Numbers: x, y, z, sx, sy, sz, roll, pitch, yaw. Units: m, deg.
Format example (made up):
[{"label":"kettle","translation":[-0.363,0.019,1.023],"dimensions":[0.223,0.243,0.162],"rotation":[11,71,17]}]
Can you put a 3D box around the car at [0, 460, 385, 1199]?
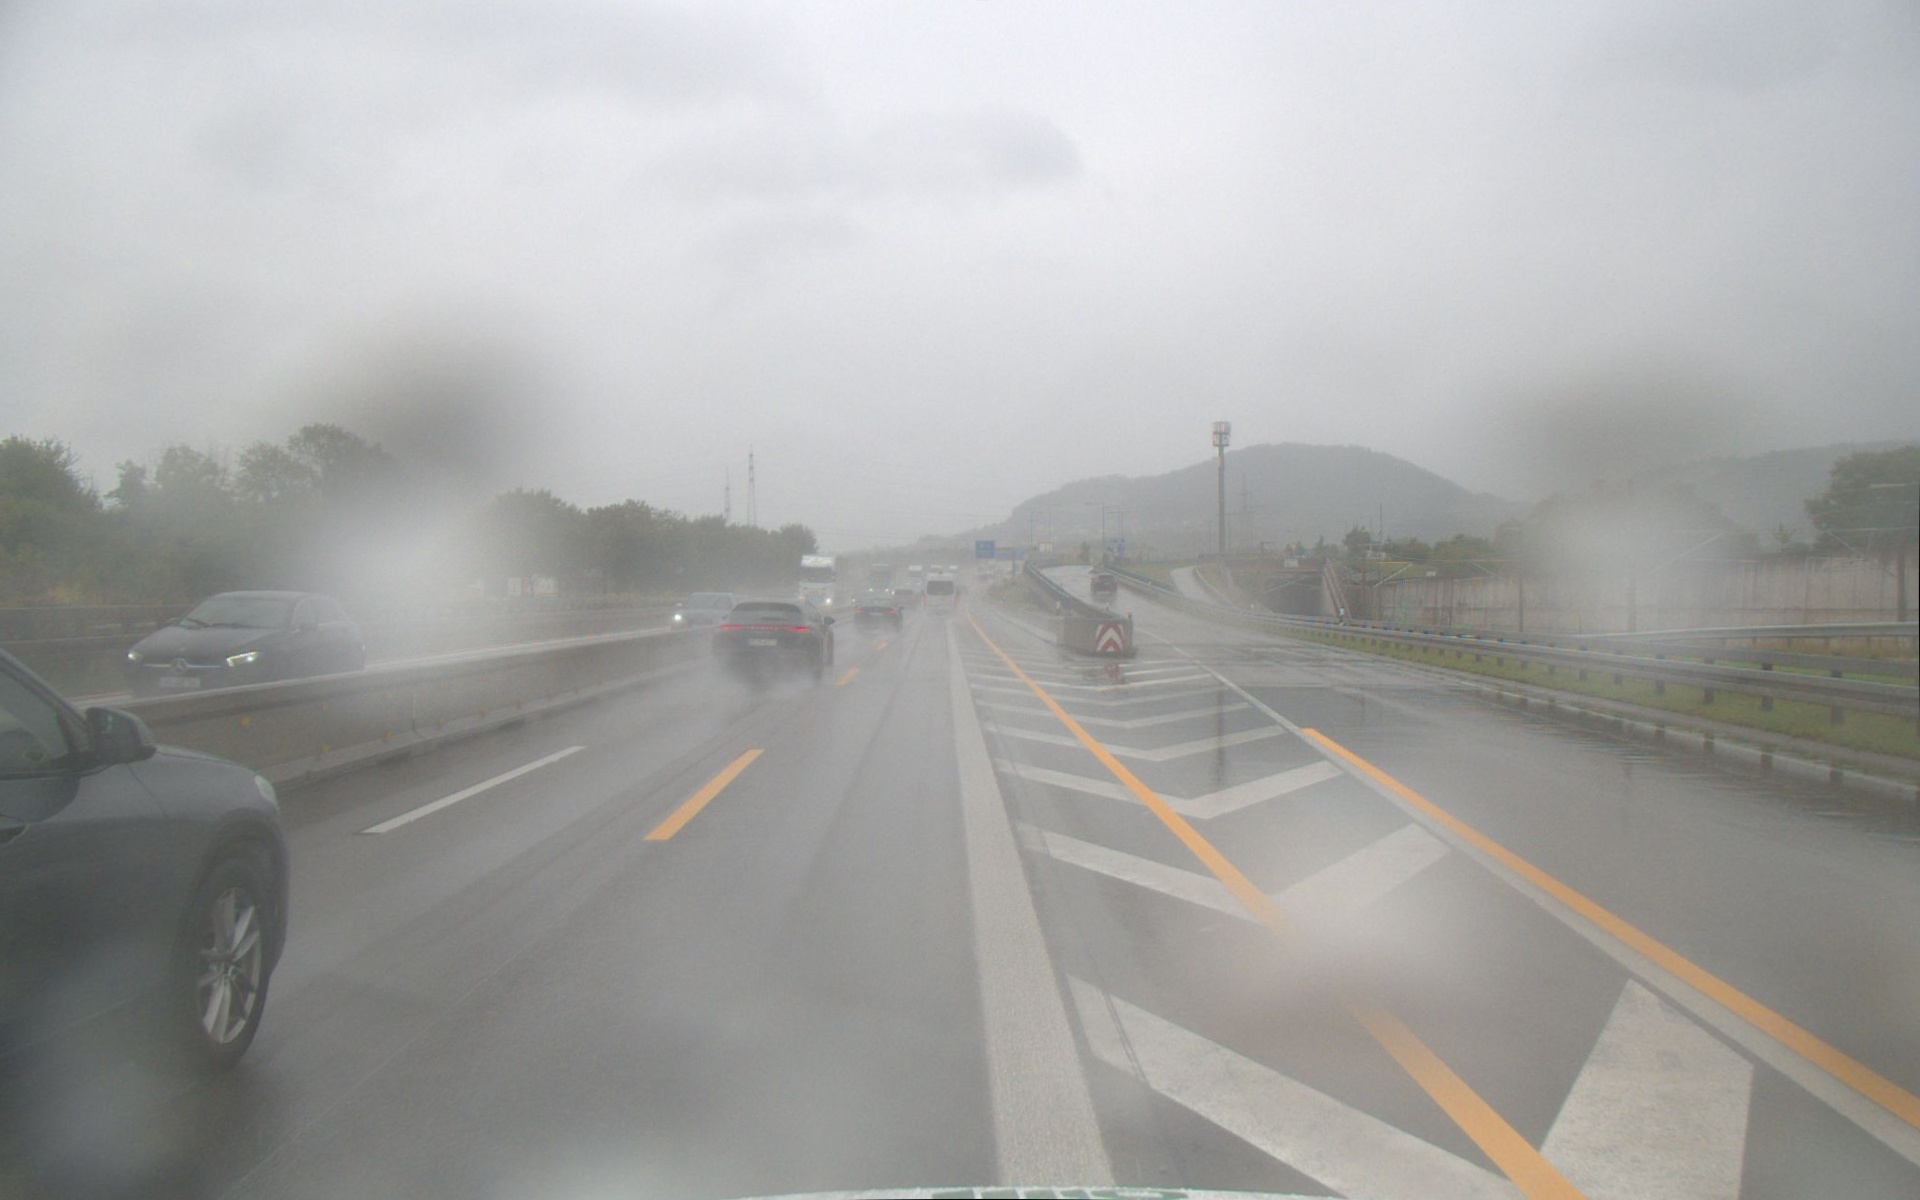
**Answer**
[{"label":"car","translation":[-2.931,0.530,3.630],"dimensions":[1.666,1.626,4.844],"rotation":[-2,-1,-1]}]

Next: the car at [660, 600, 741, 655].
[{"label":"car","translation":[-7.842,0.802,50.374],"dimensions":[1.725,1.554,4.949],"rotation":[1,0,-1]}]

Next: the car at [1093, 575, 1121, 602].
[{"label":"car","translation":[12.327,-0.968,138.898],"dimensions":[1.953,2.180,3.999],"rotation":[1,0,-1]}]

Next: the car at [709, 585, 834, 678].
[{"label":"car","translation":[-3.317,0.534,29.836],"dimensions":[1.807,1.517,4.261],"rotation":[1,0,-1]}]

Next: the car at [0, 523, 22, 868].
[{"label":"car","translation":[-6.485,0.535,7.287],"dimensions":[1.905,2.003,4.934],"rotation":[1,0,-1]}]

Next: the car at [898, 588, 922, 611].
[{"label":"car","translation":[-3.488,-0.025,115.625],"dimensions":[1.535,1.506,2.821],"rotation":[-2,-1,-1]}]

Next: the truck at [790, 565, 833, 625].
[{"label":"truck","translation":[-11.087,-0.329,123.973],"dimensions":[2.653,4.352,6.748],"rotation":[1,0,0]}]

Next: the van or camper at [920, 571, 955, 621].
[{"label":"van or camper","translation":[-1.337,-0.223,96.353],"dimensions":[1.955,2.826,4.049],"rotation":[1,0,-1]}]

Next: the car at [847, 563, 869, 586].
[{"label":"car","translation":[-13.657,-3.424,221.516],"dimensions":[2.655,2.862,5.095],"rotation":[1,0,0]}]

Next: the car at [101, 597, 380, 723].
[{"label":"car","translation":[-9.459,0.729,22.207],"dimensions":[1.725,1.486,4.696],"rotation":[1,0,-1]}]

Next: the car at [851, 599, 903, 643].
[{"label":"car","translation":[-3.157,0.778,63.699],"dimensions":[1.807,1.517,4.261],"rotation":[-2,1,-1]}]
